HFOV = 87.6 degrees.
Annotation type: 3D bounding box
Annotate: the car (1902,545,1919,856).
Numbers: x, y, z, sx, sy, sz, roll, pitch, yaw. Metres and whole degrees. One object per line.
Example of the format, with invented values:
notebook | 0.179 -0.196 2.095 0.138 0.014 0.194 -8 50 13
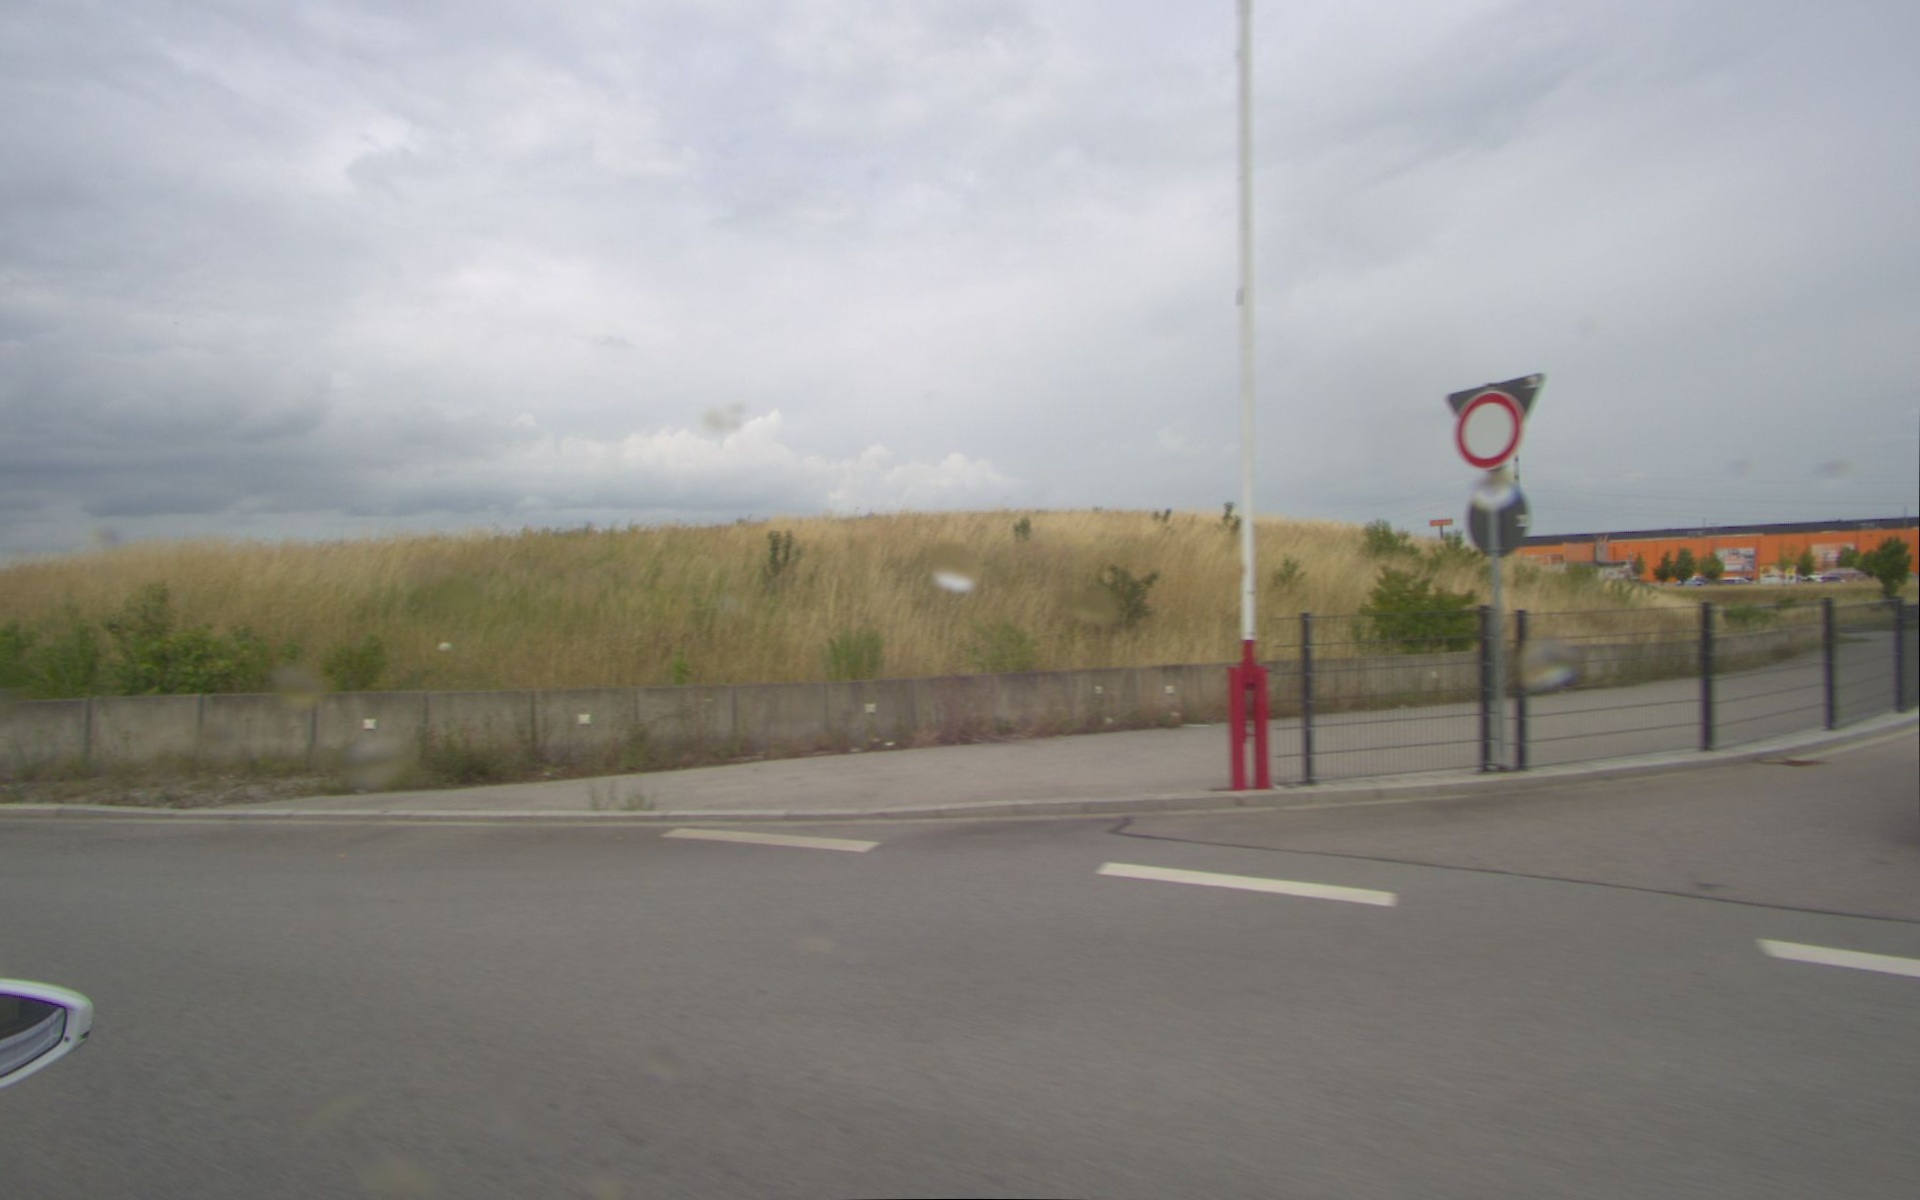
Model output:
car | 7.331 0.512 5.889 4.370 1.650 1.772 -1 1 -35
